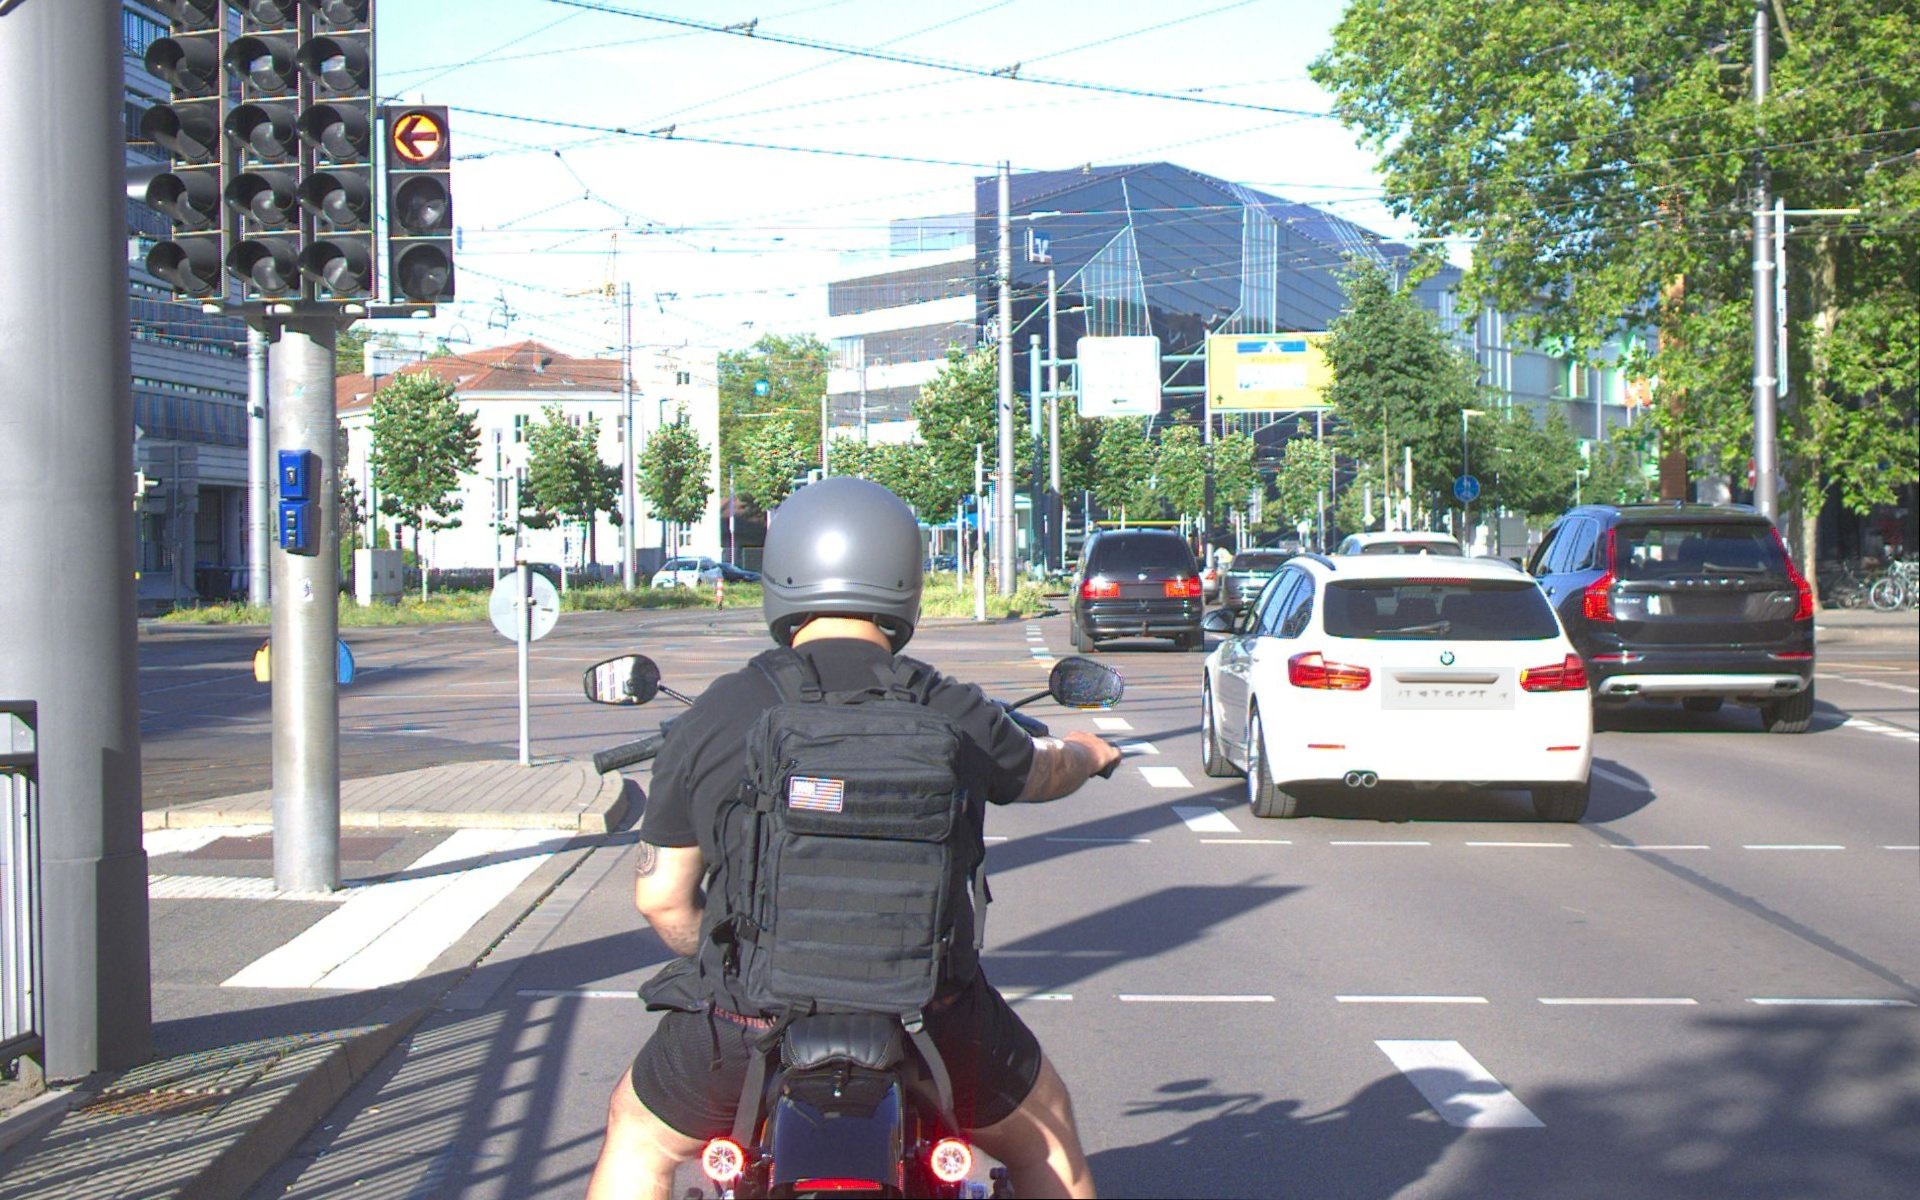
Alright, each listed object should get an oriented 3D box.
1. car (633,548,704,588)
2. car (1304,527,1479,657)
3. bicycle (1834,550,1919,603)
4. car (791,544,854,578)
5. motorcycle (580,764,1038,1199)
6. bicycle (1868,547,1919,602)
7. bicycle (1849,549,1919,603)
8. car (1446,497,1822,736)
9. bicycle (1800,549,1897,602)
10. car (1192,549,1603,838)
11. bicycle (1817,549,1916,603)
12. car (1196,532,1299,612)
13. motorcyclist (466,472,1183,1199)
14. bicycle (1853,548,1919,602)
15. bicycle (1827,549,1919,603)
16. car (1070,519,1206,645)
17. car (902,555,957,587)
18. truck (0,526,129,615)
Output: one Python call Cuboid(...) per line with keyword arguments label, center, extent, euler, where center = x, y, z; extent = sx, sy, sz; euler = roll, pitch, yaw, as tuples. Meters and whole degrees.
Cuboid(label="car", center=(-10.994, -1.228, 129.834), extent=(1.825, 1.425, 4.529), euler=(0, 1, 6))
Cuboid(label="car", center=(5.621, -0.142, 45.179), extent=(1.731, 1.593, 4.041), euler=(1, 1, 0))
Cuboid(label="bicycle", center=(18.433, -0.463, 68.583), extent=(1.880, 1.043, 0.360), euler=(1, 0, -1))
Cuboid(label="car", center=(-6.054, -1.700, 151.297), extent=(1.826, 1.426, 4.239), euler=(1, 0, 11))
Cuboid(label="motorcycle", center=(-0.217, 0.867, 5.665), extent=(0.600, 1.032, 2.234), euler=(1, 1, -1))
Cuboid(label="bicycle", center=(18.375, -0.485, 65.795), extent=(1.880, 1.043, 0.360), euler=(1, 0, -1))
Cuboid(label="bicycle", center=(18.422, -0.468, 67.393), extent=(1.880, 1.043, 0.360), euler=(1, 0, -1))
Cuboid(label="car", center=(5.258, 0.058, 27.462), extent=(1.731, 1.726, 4.613), euler=(1, 2, -5))
Cuboid(label="bicycle", center=(18.281, -0.505, 70.718), extent=(1.880, 1.043, 0.360), euler=(1, 1, -1))
Cuboid(label="car", center=(2.382, 0.469, 19.753), extent=(1.731, 1.452, 4.418), euler=(1, 0, -1))
Cuboid(label="bicycle", center=(18.334, -0.489, 69.567), extent=(1.880, 1.043, 0.360), euler=(1, 1, -1))
Cuboid(label="car", center=(6.314, -0.612, 75.758), extent=(1.803, 1.672, 4.041), euler=(1, 0, -1))
Cuboid(label="motorcyclist", center=(-0.198, 0.604, 5.412), extent=(1.030, 1.588, 0.873), euler=(0, 1, -1))
Cuboid(label="bicycle", center=(18.296, -0.479, 66.577), extent=(1.880, 1.043, 0.360), euler=(1, 0, -1))
Cuboid(label="bicycle", center=(18.416, -0.478, 69.068), extent=(1.880, 1.043, 0.360), euler=(1, 1, -1))
Cuboid(label="car", center=(2.472, -0.247, 48.272), extent=(1.803, 1.672, 4.040), euler=(1, 0, 2))
Cuboid(label="car", center=(-1.462, -1.412, 168.011), extent=(1.750, 1.519, 3.997), euler=(1, 0, 13))
Cuboid(label="truck", center=(-20.611, -0.633, 76.879), extent=(1.994, 1.873, 5.154), euler=(-3, 0, 10))
